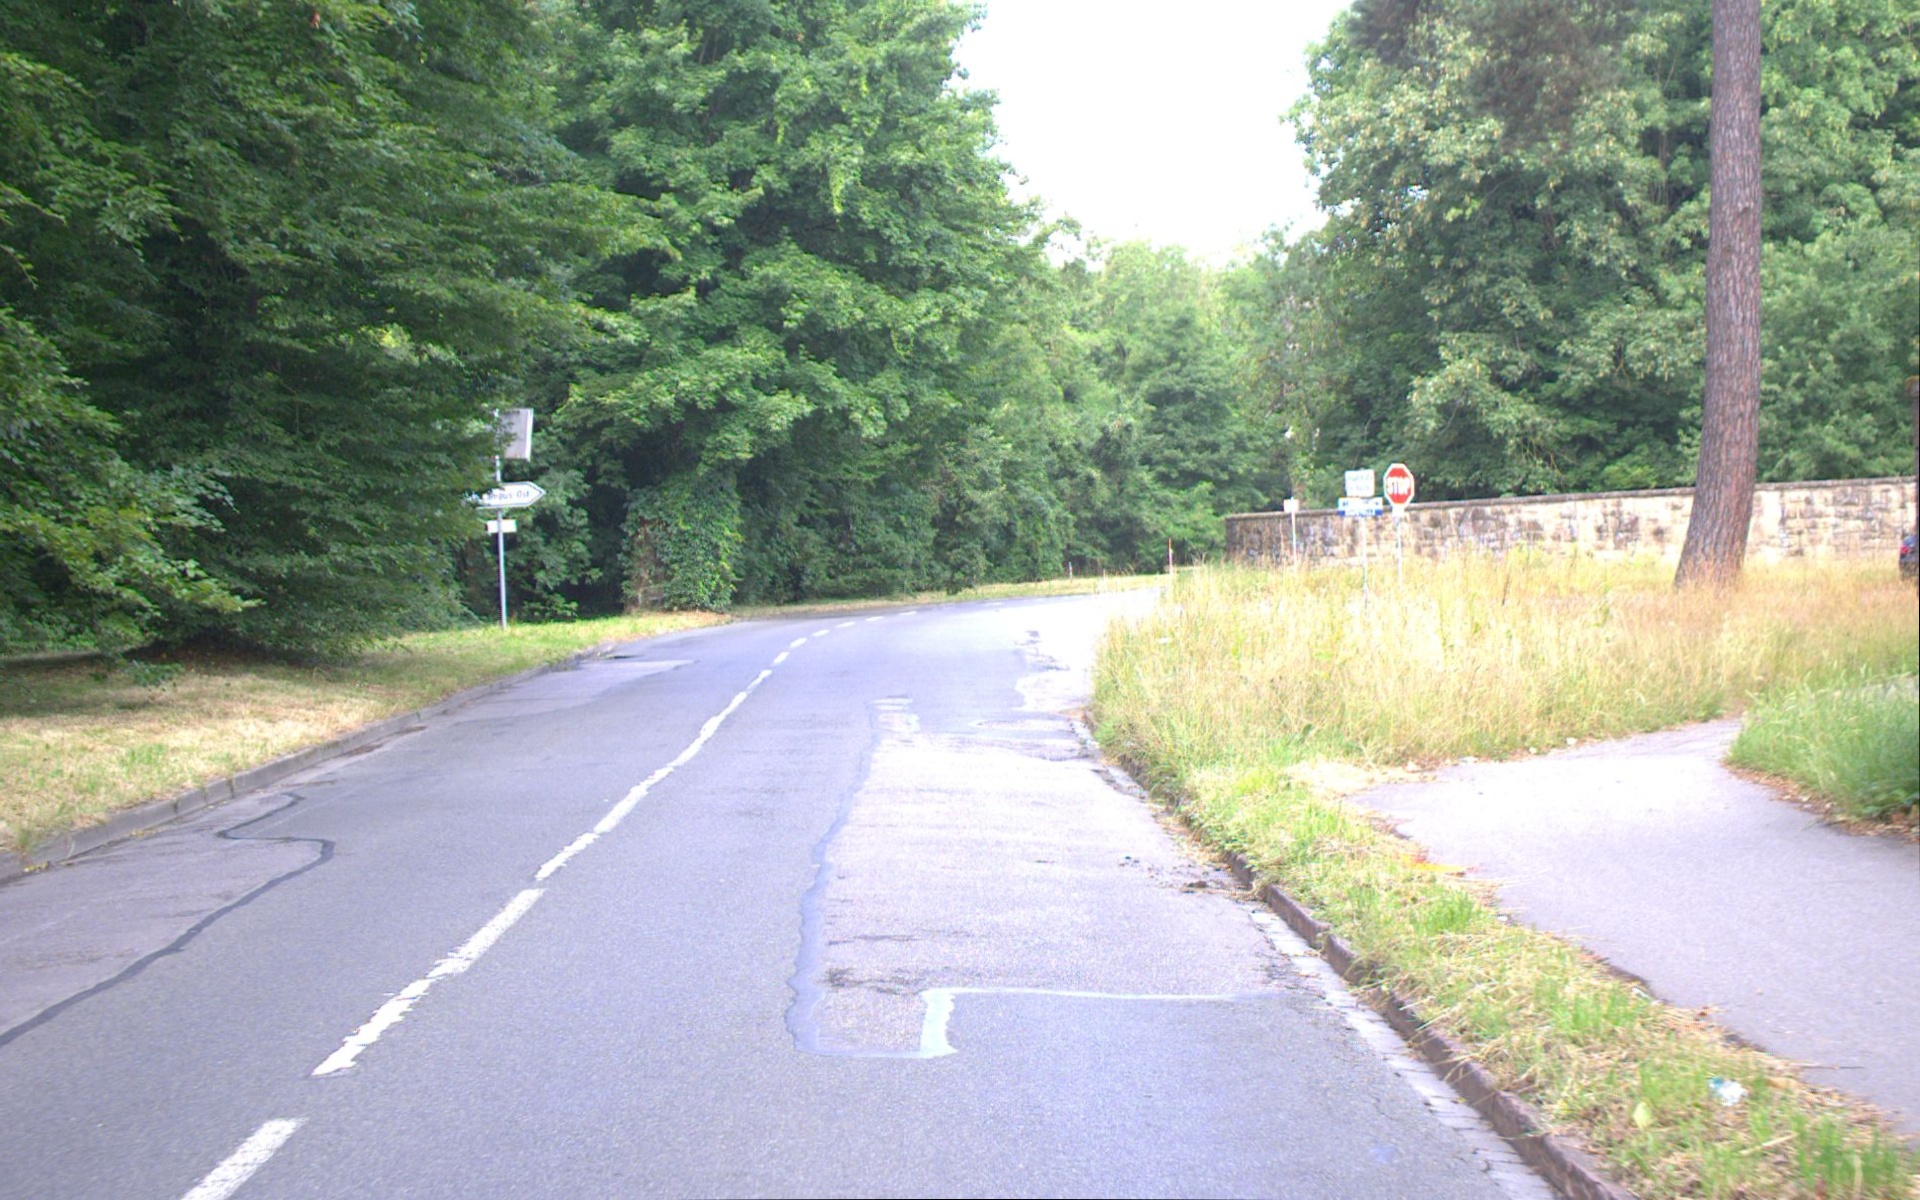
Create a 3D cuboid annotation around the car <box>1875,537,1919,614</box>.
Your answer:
[{"bbox_3d":[19.963,-0.565,68.742,1.877,1.436,3.992,-2,2,36],"label":"car"}]
